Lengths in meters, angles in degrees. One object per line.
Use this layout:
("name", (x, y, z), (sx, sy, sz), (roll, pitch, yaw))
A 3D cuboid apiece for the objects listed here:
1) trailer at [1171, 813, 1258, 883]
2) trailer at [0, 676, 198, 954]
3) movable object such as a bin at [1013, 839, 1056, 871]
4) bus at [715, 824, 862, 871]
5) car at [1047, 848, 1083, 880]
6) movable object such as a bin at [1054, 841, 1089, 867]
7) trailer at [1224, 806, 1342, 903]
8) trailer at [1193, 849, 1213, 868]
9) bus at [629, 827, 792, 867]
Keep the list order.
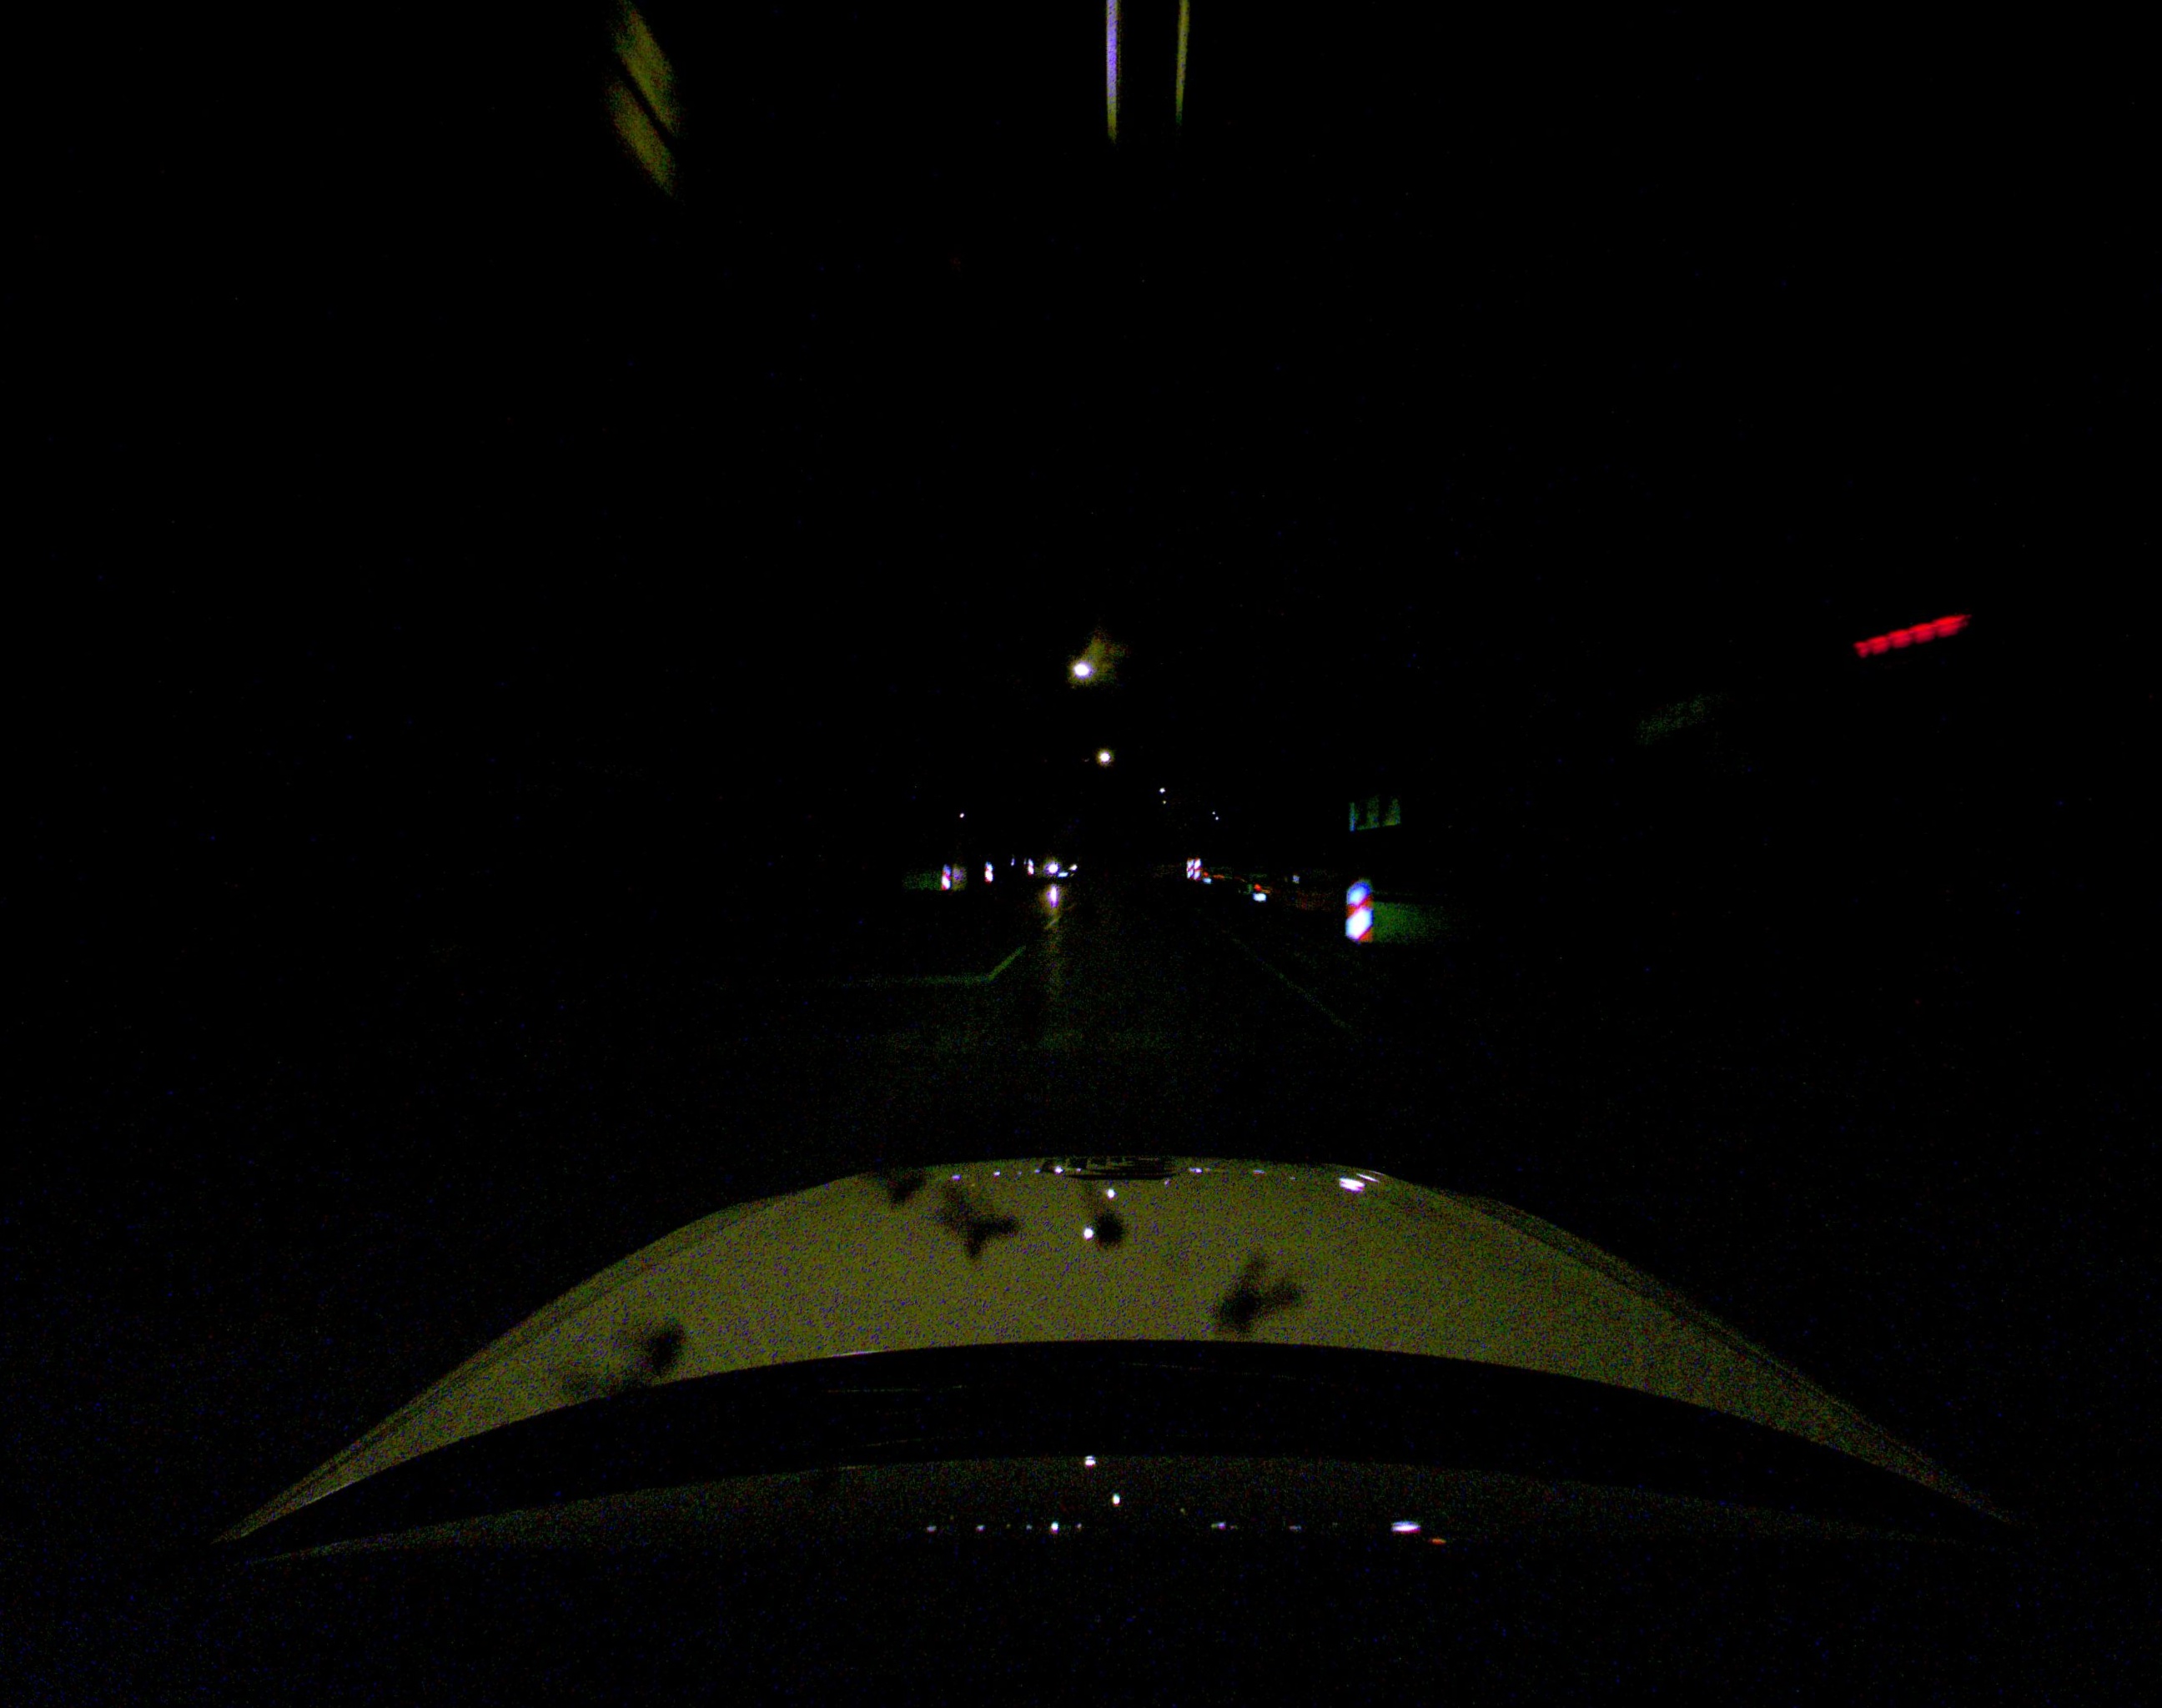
("trailer", (6.586, -0.283, 40.860), (3.471, 3.219, 4.863), (2, 0, -1))
("trailer", (-18.416, -0.570, 6.733), (3.034, 3.932, 15.073), (2, 1, 18))
("movable object such as a bin", (-3.577, 0.096, 64.060), (1.979, 2.376, 4.720), (0, -1, 15))
("bus", (-21.613, -0.549, 61.511), (2.987, 3.204, 12.737), (0, 1, 20))
("car", (-0.842, 0.503, 44.057), (1.689, 1.576, 2.959), (-2, 1, 3))
("movable object such as a bin", (-0.846, -0.004, 76.237), (1.979, 2.376, 4.721), (0, 0, 15))
("trailer", (6.457, 0.018, 26.699), (2.605, 2.845, 4.708), (2, 0, -1))
("trailer", (9.604, 0.304, 64.257), (1.237, 1.434, 3.731), (1, 1, 4))
("bus", (-29.436, -0.623, 65.654), (2.915, 2.982, 12.353), (1, 1, 32))
